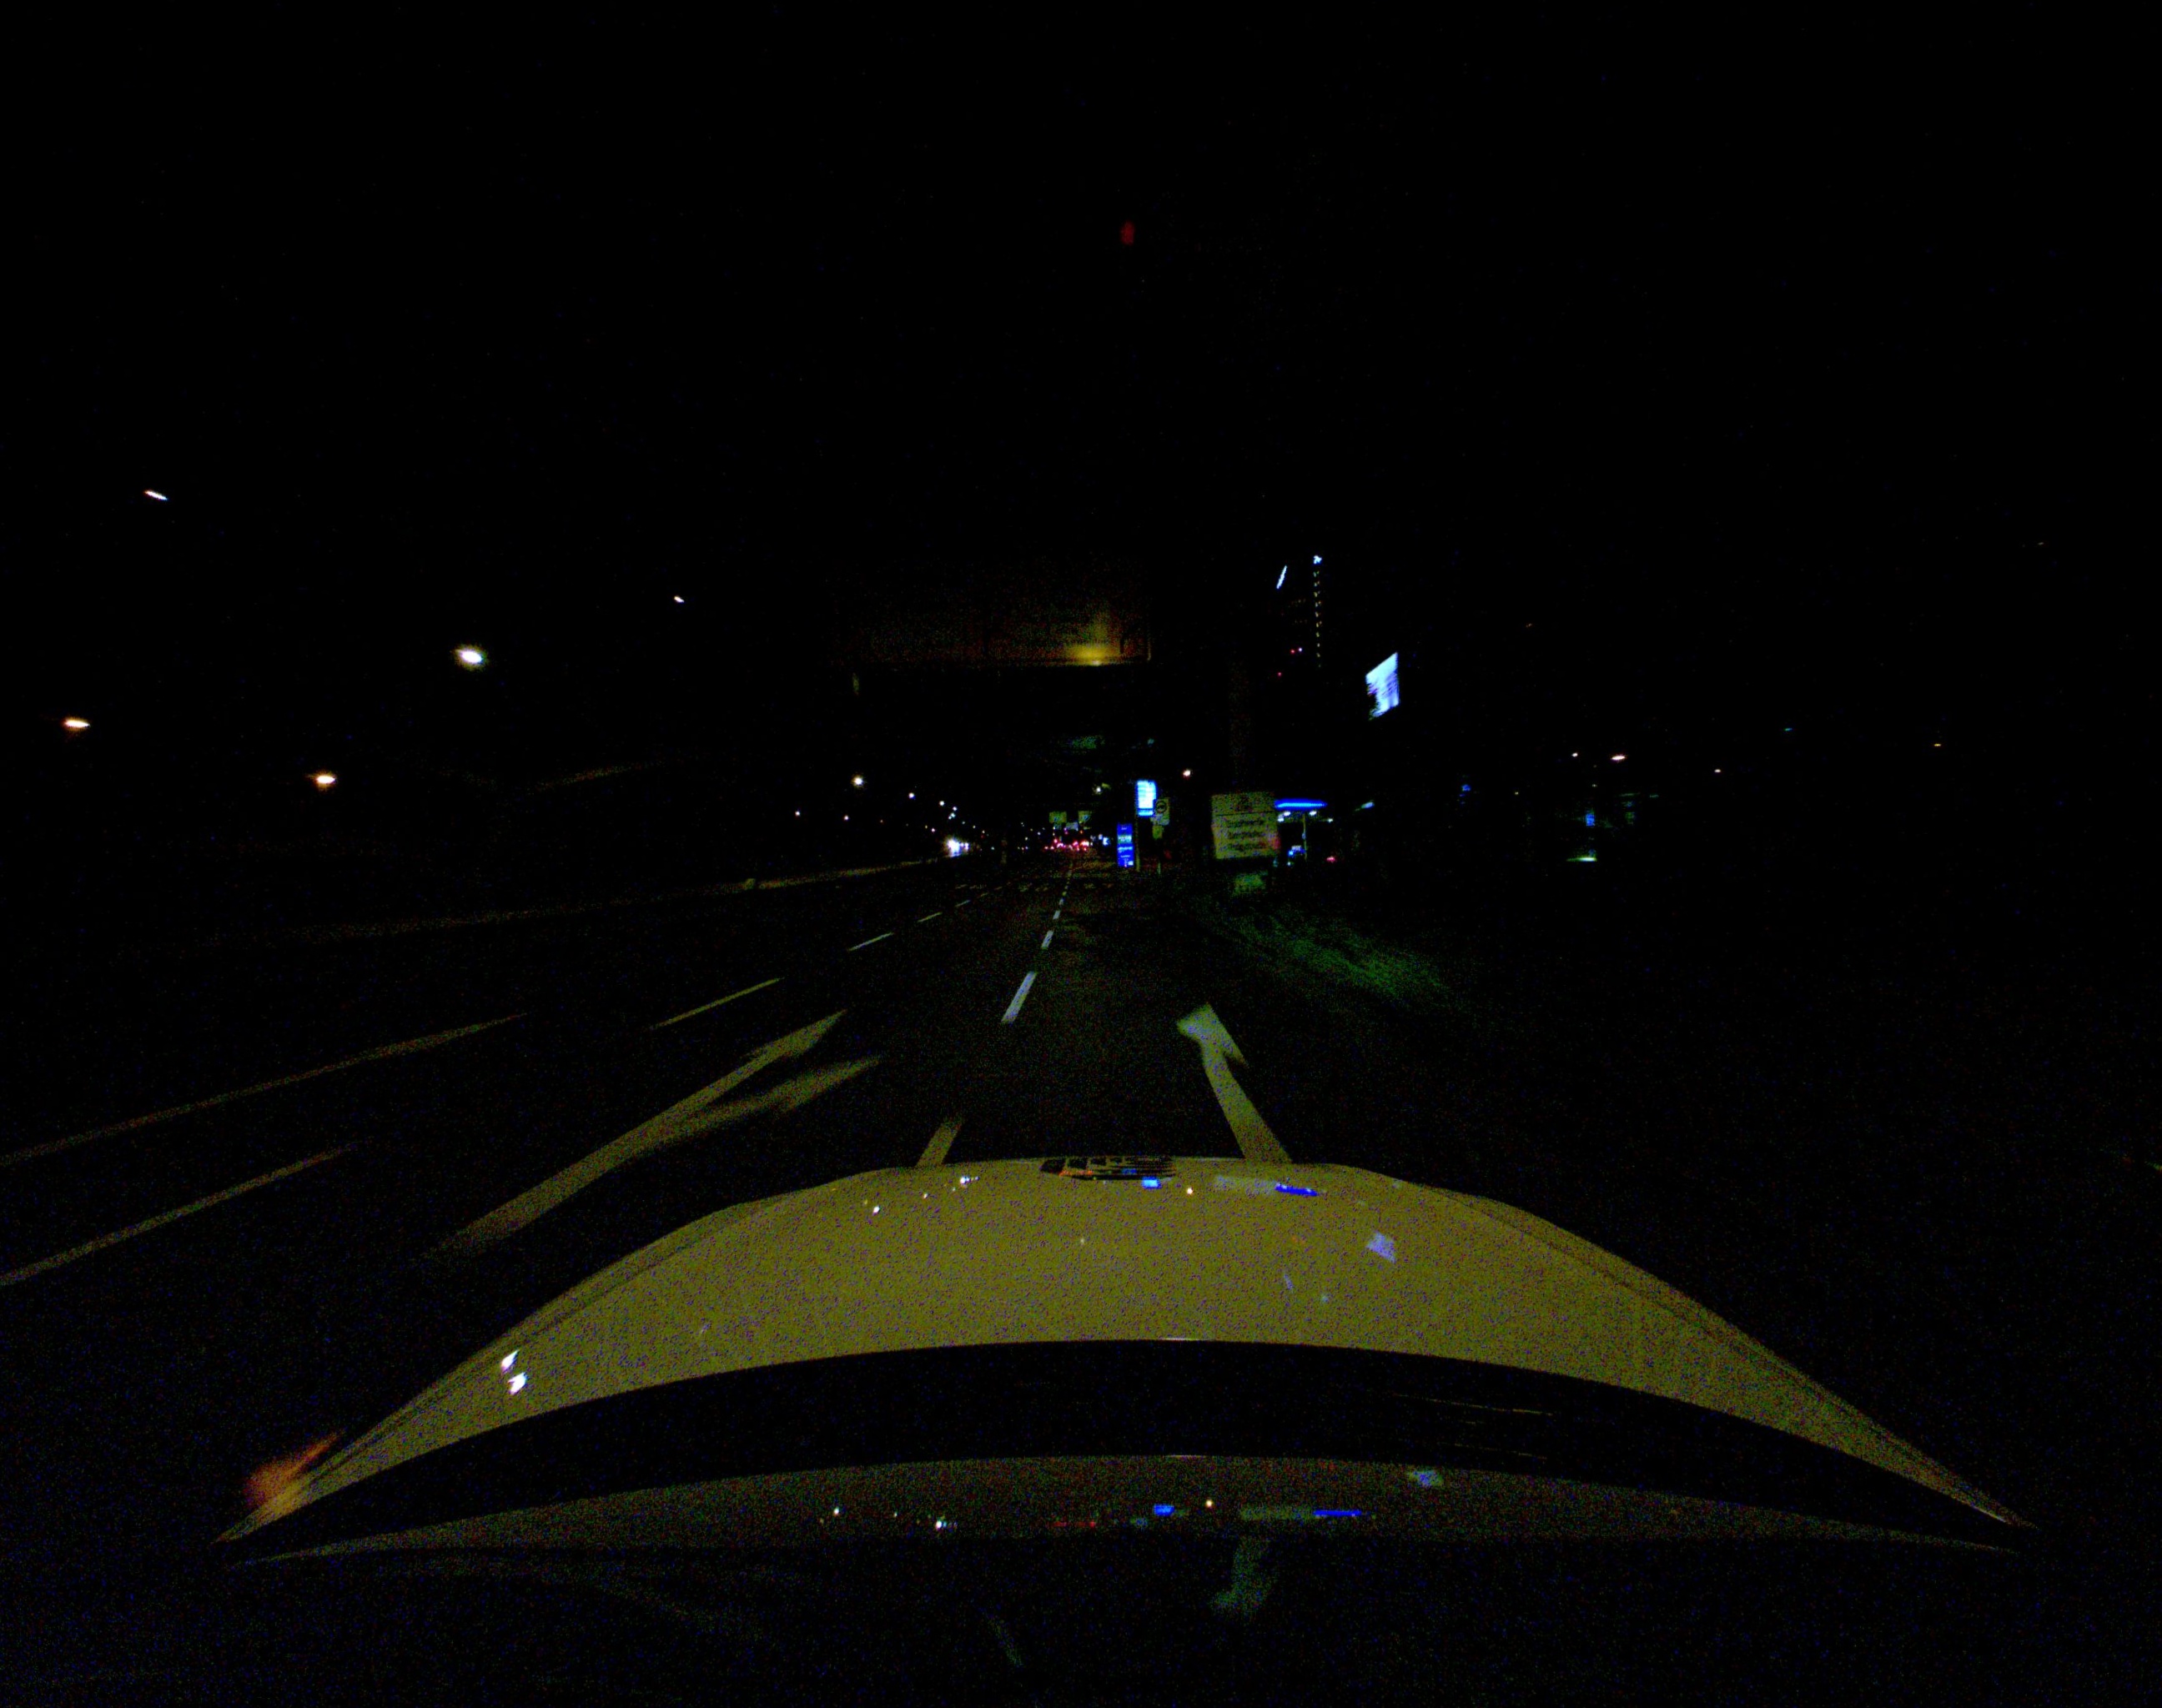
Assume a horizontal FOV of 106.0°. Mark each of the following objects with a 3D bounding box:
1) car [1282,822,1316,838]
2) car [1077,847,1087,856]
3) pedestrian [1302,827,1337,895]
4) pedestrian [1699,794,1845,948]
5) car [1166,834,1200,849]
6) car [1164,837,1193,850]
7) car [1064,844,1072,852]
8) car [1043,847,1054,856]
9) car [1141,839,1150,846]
[{"bbox_3d":[27.951,-3.082,104.565,3.801,1.895,1.750,-1,-1,-4],"label":"car"},{"bbox_3d":[0.235,-0.439,161.088,1.960,1.711,4.001,0,-1,2],"label":"car"},{"bbox_3d":[7.058,0.198,24.131,0.800,1.913,0.795,-4,0,9],"label":"pedestrian"},{"bbox_3d":[8.119,0.191,9.621,0.850,1.707,0.957,-2,-1,0],"label":"pedestrian"},{"bbox_3d":[13.117,-1.600,104.535,4.105,1.522,1.823,-3,-1,1],"label":"car"},{"bbox_3d":[13.435,-1.418,111.996,3.715,1.489,1.740,-3,-1,-3],"label":"car"},{"bbox_3d":[-3.167,-1.423,195.164,1.775,1.711,4.001,0,-1,2],"label":"car"},{"bbox_3d":[-6.749,-0.555,169.800,1.960,1.711,4.001,0,-1,2],"label":"car"},{"bbox_3d":[15.087,-2.708,189.576,1.883,1.511,3.642,0,-1,6],"label":"car"}]
